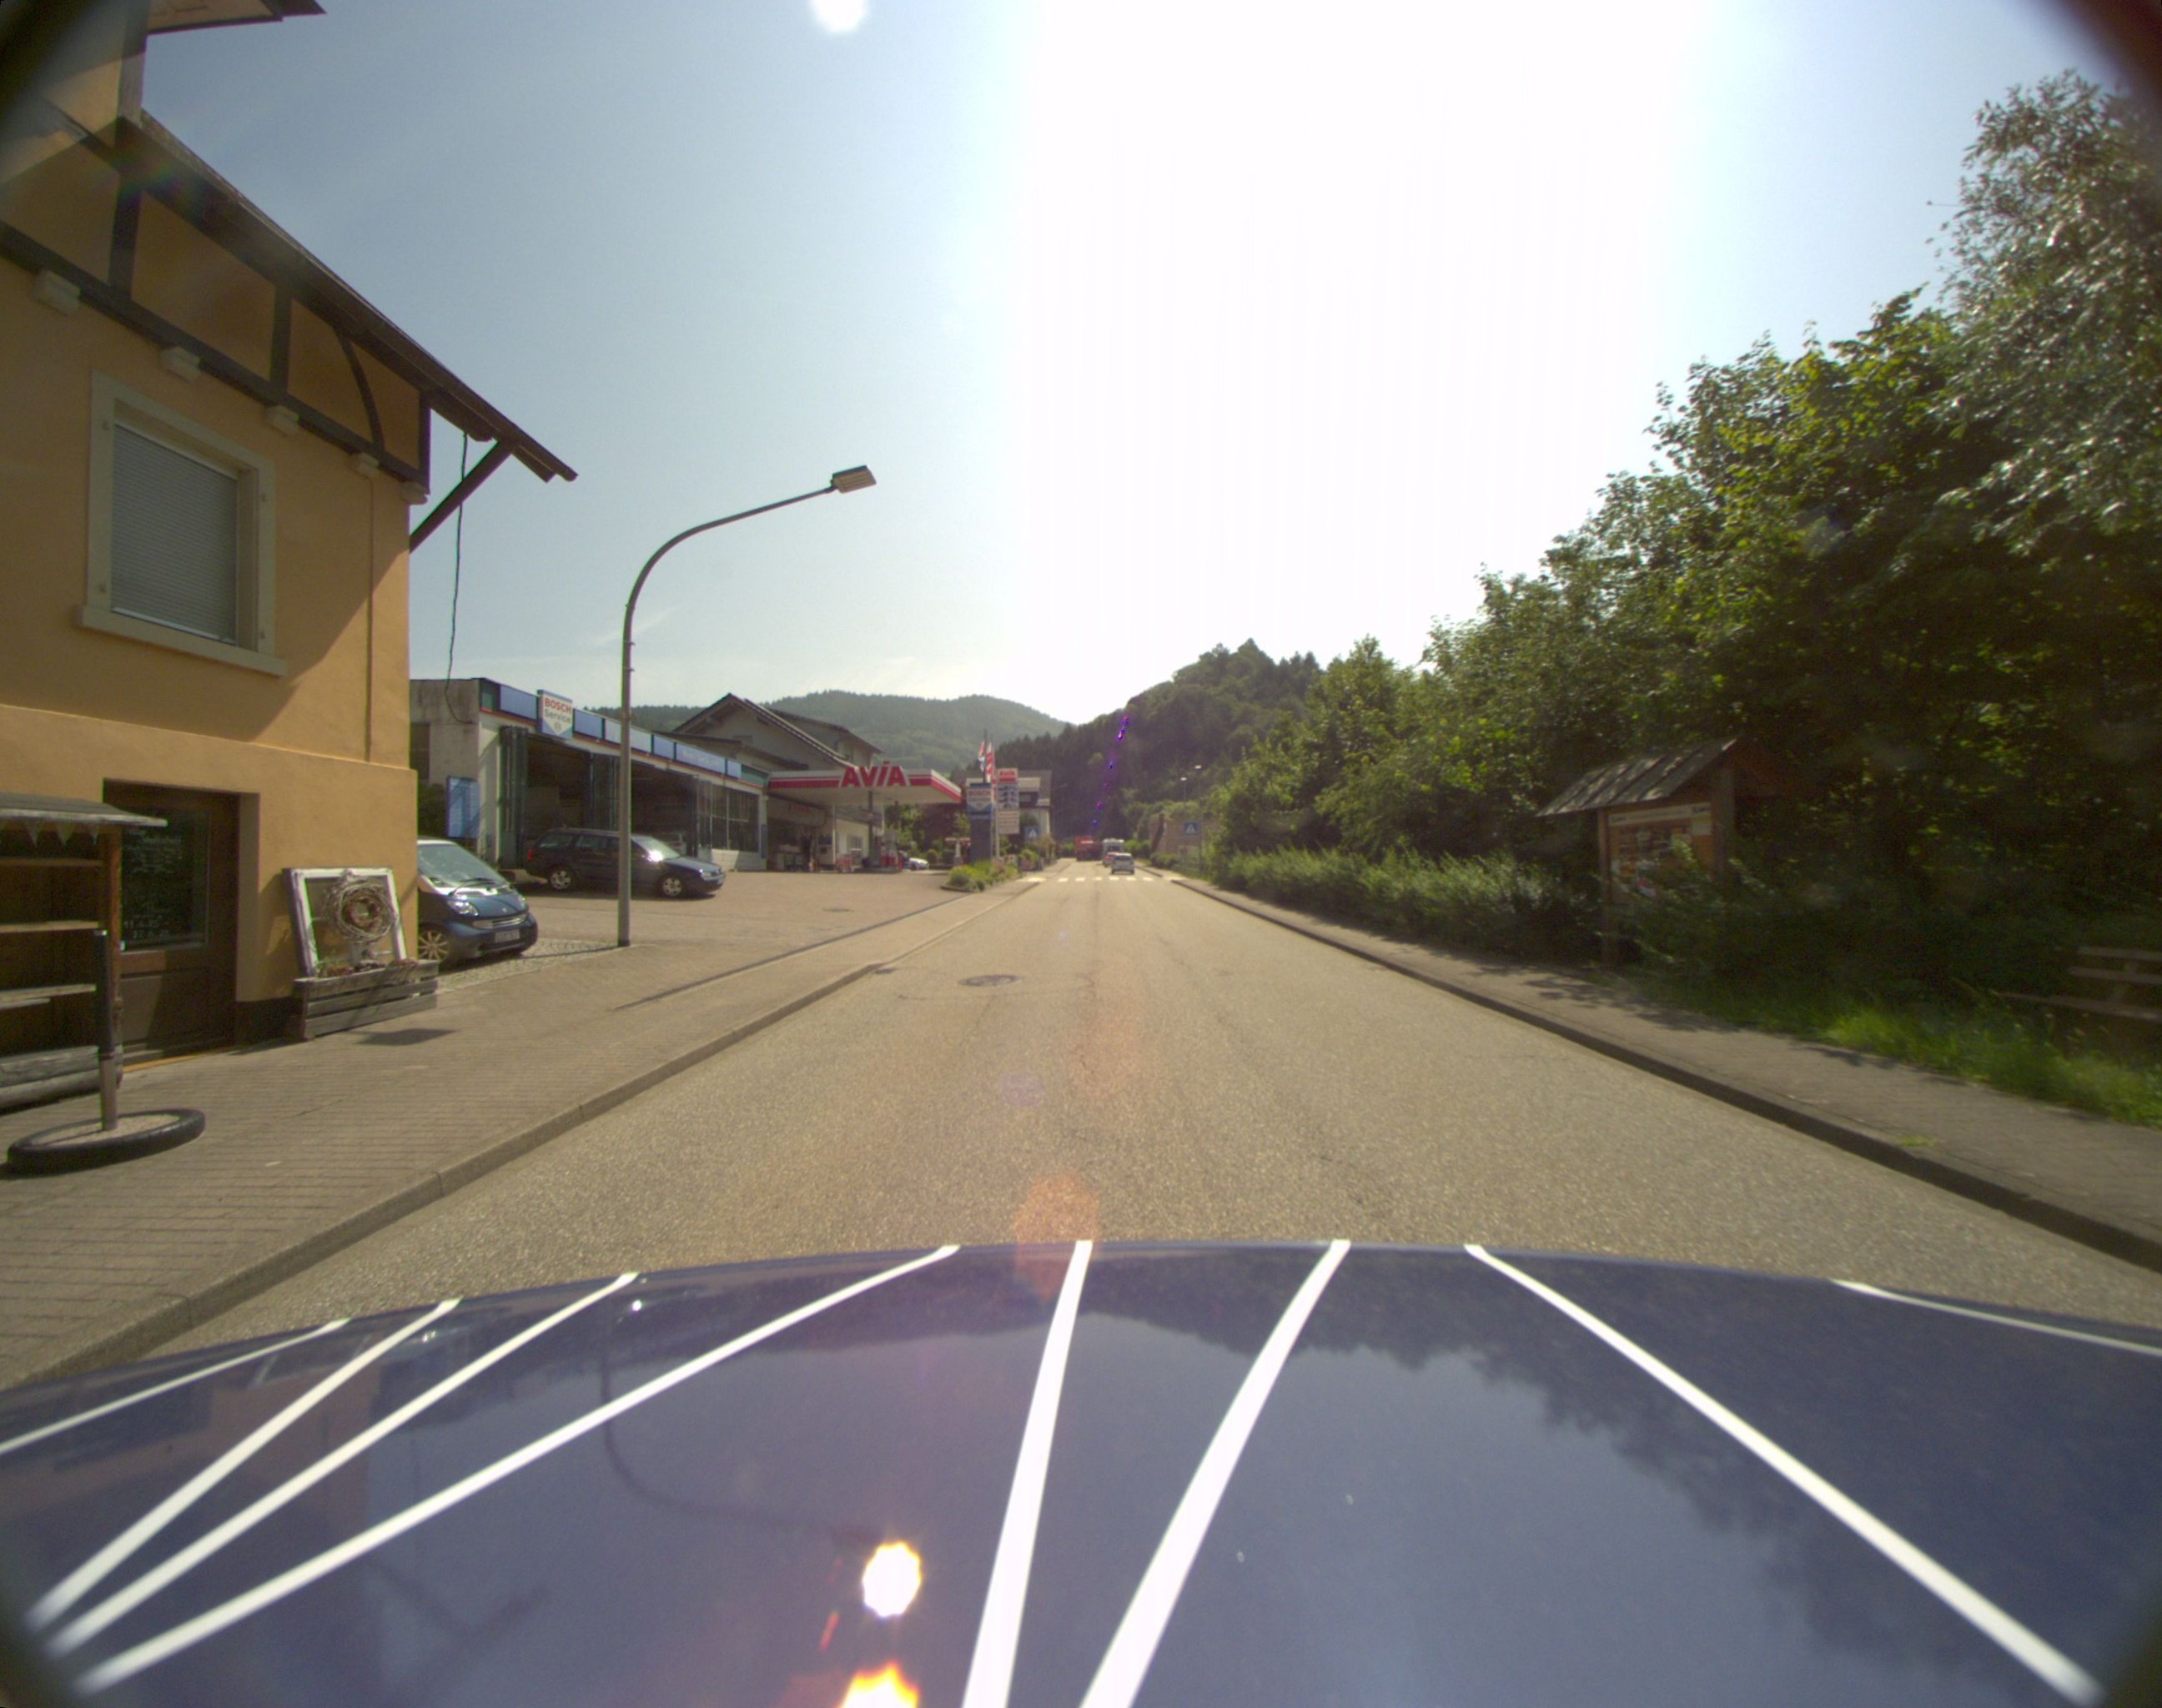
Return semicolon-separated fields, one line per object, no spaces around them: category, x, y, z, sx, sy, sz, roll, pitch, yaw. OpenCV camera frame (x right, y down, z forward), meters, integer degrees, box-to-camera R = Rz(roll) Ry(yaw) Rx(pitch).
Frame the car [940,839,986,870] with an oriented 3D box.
car;-6.584;-0.021;42.762;1.696;1.568;3.911;3;1;2

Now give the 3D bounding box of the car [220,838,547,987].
car;-8.594;0.674;9.538;2.661;1.527;1.424;5;2;-3

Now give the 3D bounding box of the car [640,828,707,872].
car;-17.077;-0.228;32.017;1.607;1.678;3.923;3;1;-16

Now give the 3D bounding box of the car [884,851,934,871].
car;-11.879;0.483;52.619;3.080;1.138;1.335;3;1;0

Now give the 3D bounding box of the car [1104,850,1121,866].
car;3.146;0.381;76.422;1.608;1.398;3.827;2;1;1

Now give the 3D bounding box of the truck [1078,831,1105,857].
truck;1.500;-1.532;113.866;2.653;3.561;8.184;1;1;-9

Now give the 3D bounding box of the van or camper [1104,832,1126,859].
van or camper;3.933;-0.978;88.733;2.364;2.936;8.052;1;0;2

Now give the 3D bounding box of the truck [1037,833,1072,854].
truck;-4.868;-1.841;135.694;2.657;3.561;7.752;1;1;-32

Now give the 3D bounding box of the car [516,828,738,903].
car;-11.141;0.264;18.926;4.332;1.536;1.798;3;1;-8

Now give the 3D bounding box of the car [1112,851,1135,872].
car;3.058;0.526;54.588;1.594;1.474;3.757;1;0;3
